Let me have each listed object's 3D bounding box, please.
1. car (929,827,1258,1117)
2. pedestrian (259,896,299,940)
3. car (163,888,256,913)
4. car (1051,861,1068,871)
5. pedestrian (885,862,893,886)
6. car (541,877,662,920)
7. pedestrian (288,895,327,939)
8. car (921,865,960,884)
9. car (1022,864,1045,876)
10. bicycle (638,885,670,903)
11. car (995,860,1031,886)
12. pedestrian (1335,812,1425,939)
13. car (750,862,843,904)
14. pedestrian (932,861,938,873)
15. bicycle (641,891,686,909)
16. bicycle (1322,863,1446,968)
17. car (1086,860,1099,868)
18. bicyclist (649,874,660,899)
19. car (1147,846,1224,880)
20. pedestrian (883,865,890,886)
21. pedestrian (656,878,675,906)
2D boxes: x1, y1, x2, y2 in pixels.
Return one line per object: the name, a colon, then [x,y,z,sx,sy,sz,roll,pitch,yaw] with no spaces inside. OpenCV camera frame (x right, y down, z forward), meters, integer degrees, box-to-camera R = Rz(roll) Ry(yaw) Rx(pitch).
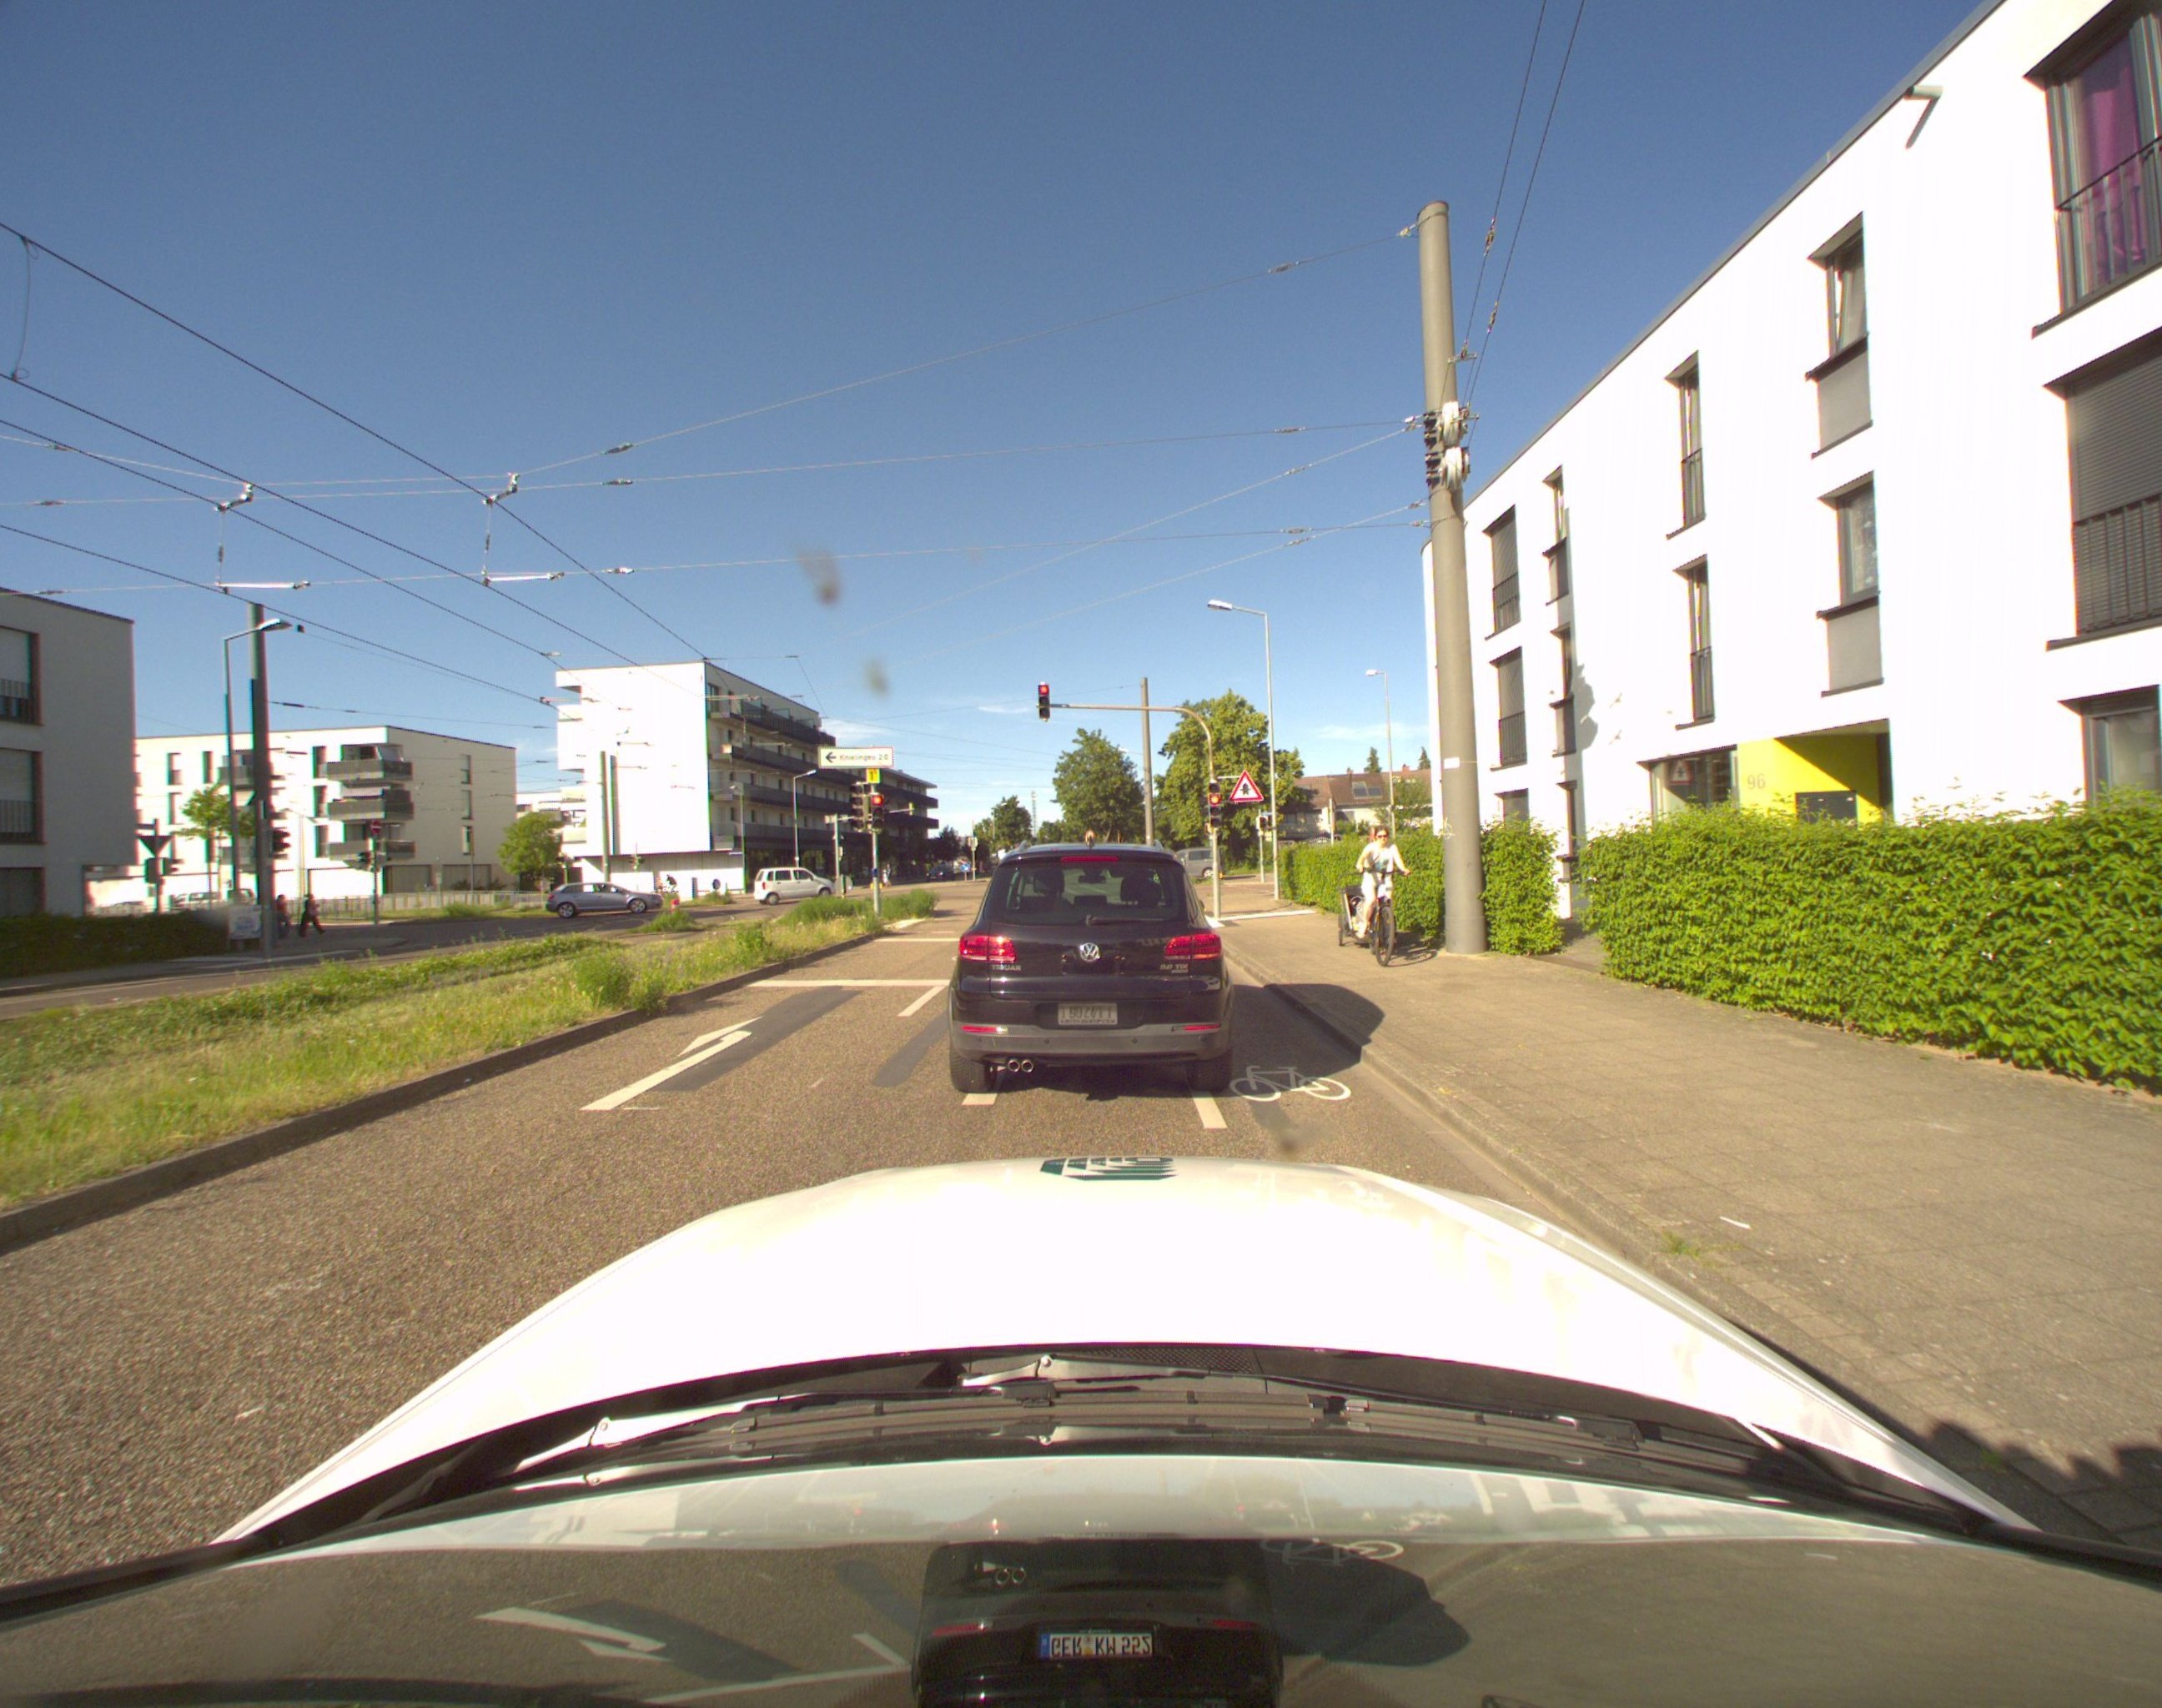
car: [0.130,0.689,6.638,1.862,1.637,4.001,0,-1,2]
pedestrian: [-30.510,2.413,30.980,0.771,1.605,0.740,0,-1,-9]
car: [-58.932,3.156,55.132,4.305,1.574,2.002,0,-1,4]
car: [-3.441,1.957,130.264,1.981,1.574,4.350,-1,-1,9]
pedestrian: [-14.139,1.454,59.981,0.542,1.744,0.517,0,-1,-4]
car: [-19.998,1.827,34.181,4.116,1.485,1.855,-2,-1,-24]
pedestrian: [-29.468,2.405,31.028,0.771,1.605,0.740,0,-1,-9]
car: [-12.381,1.786,72.032,1.980,1.574,4.353,-1,-1,11]
car: [-6.272,2.113,107.998,1.981,1.574,4.350,-1,-1,9]
bicycle: [-28.377,2.667,54.155,1.865,1.124,0.815,0,-1,-27]
car: [-4.569,1.255,55.101,1.986,1.684,4.001,0,-1,1]
pedestrian: [3.972,0.279,10.900,0.905,1.594,0.856,-3,-1,8]
car: [-13.173,1.307,37.716,3.701,1.720,1.850,-2,0,-34]
pedestrian: [-18.587,1.652,103.521,0.640,1.509,0.596,0,-1,2]
bicycle: [-26.207,2.895,51.150,2.402,1.002,0.640,-3,-1,0]
bicycle: [4.046,0.746,11.201,0.923,1.173,3.133,-3,0,8]
car: [2.327,2.114,167.630,1.981,1.574,4.350,-1,-1,9]
bicyclist: [-28.362,2.135,54.156,0.642,1.614,0.778,0,-1,-26]
car: [5.776,0.500,44.724,3.958,1.836,2.008,-1,-1,14]
pedestrian: [-14.194,1.577,59.405,0.440,1.503,0.517,0,-1,-4]
pedestrian: [-26.066,2.376,51.148,0.810,1.692,0.620,-3,-1,-1]
